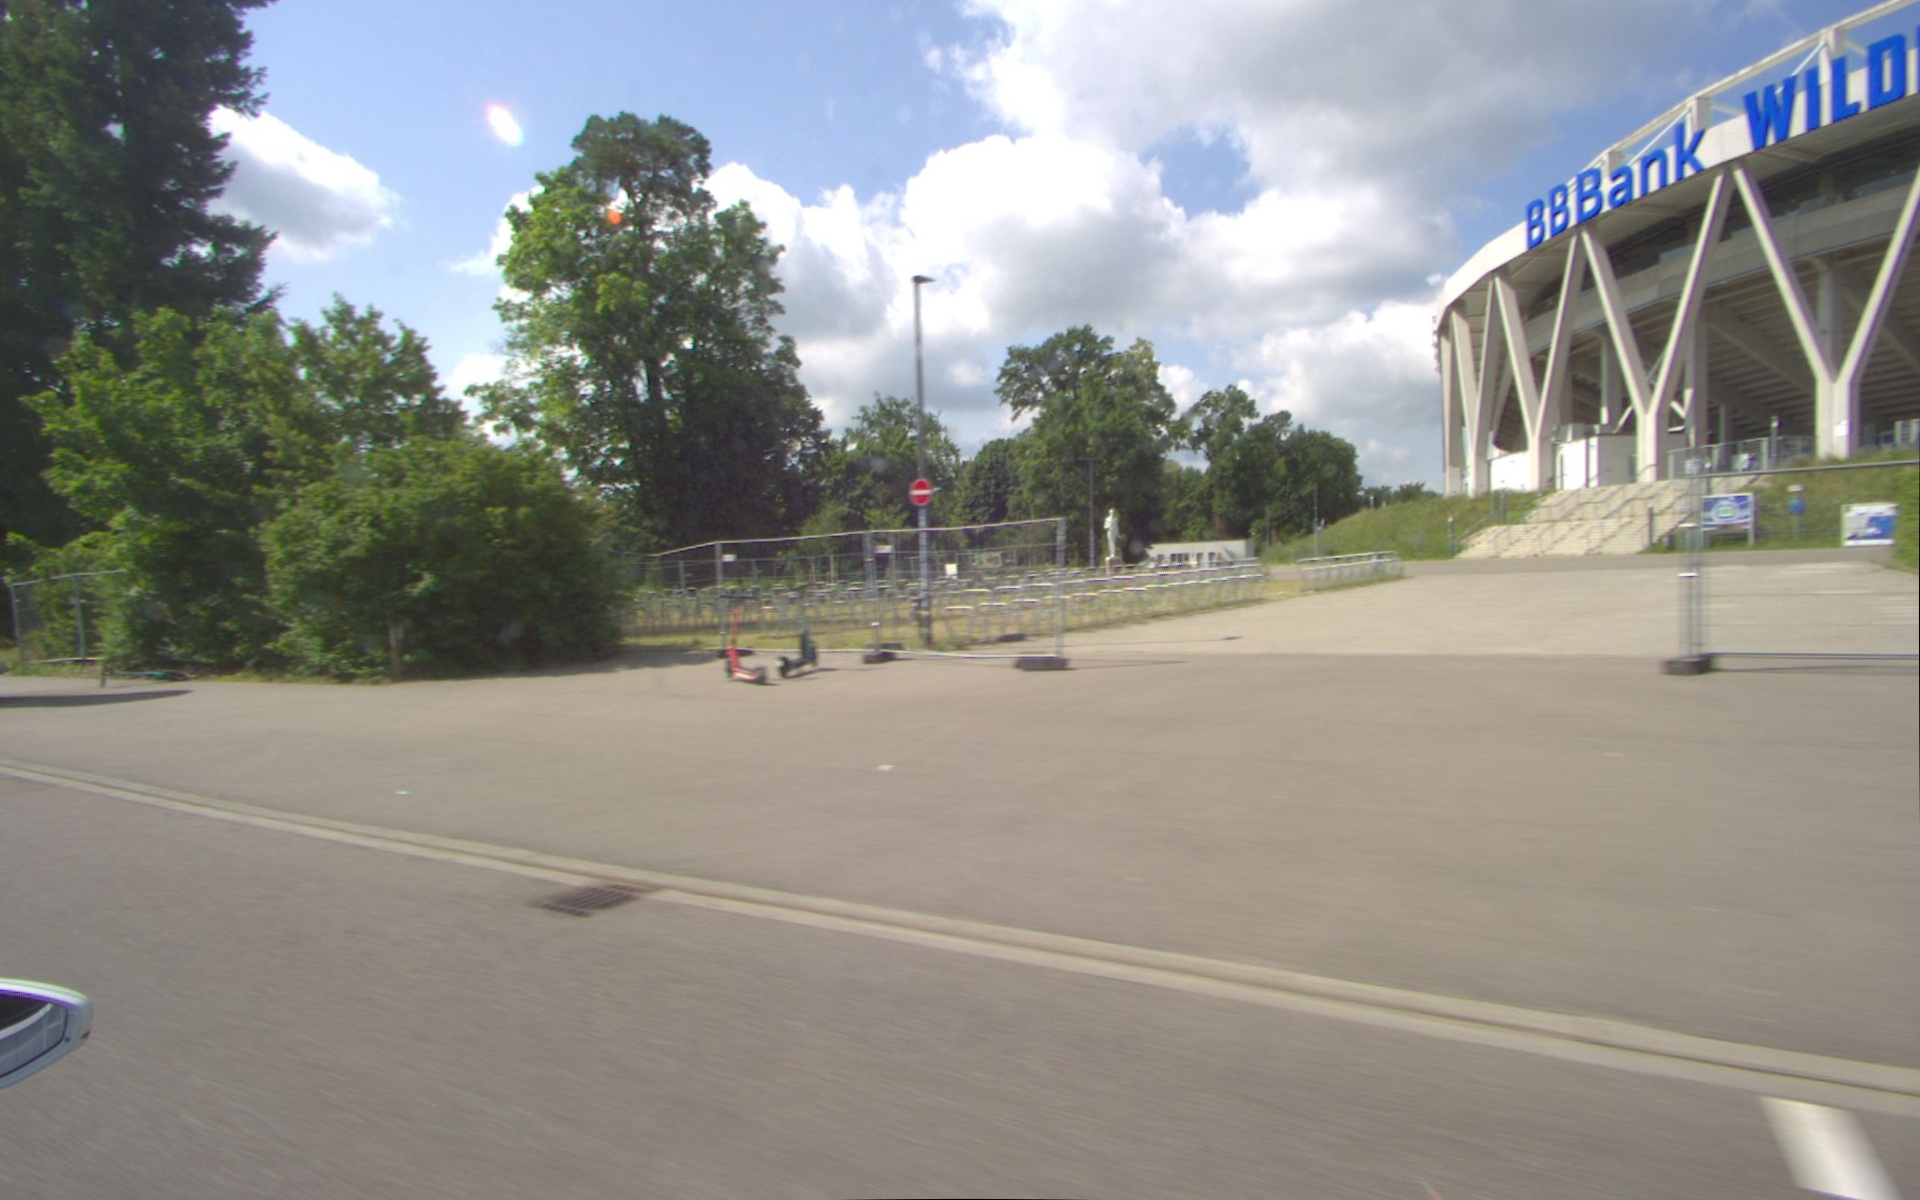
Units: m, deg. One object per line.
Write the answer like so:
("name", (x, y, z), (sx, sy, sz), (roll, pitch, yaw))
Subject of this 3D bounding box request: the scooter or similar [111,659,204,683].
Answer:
("scooter or similar", (-14.885, 1.316, 18.571), (1.451, 0.393, 0.853), (0, -3, 29))

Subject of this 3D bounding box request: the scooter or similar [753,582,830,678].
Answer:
("scooter or similar", (-2.411, 0.408, 14.421), (0.400, 1.269, 1.307), (-1, 3, 23))

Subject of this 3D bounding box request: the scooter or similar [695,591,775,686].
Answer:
("scooter or similar", (-3.090, 0.507, 13.692), (0.403, 1.217, 1.299), (-5, 4, -43))
